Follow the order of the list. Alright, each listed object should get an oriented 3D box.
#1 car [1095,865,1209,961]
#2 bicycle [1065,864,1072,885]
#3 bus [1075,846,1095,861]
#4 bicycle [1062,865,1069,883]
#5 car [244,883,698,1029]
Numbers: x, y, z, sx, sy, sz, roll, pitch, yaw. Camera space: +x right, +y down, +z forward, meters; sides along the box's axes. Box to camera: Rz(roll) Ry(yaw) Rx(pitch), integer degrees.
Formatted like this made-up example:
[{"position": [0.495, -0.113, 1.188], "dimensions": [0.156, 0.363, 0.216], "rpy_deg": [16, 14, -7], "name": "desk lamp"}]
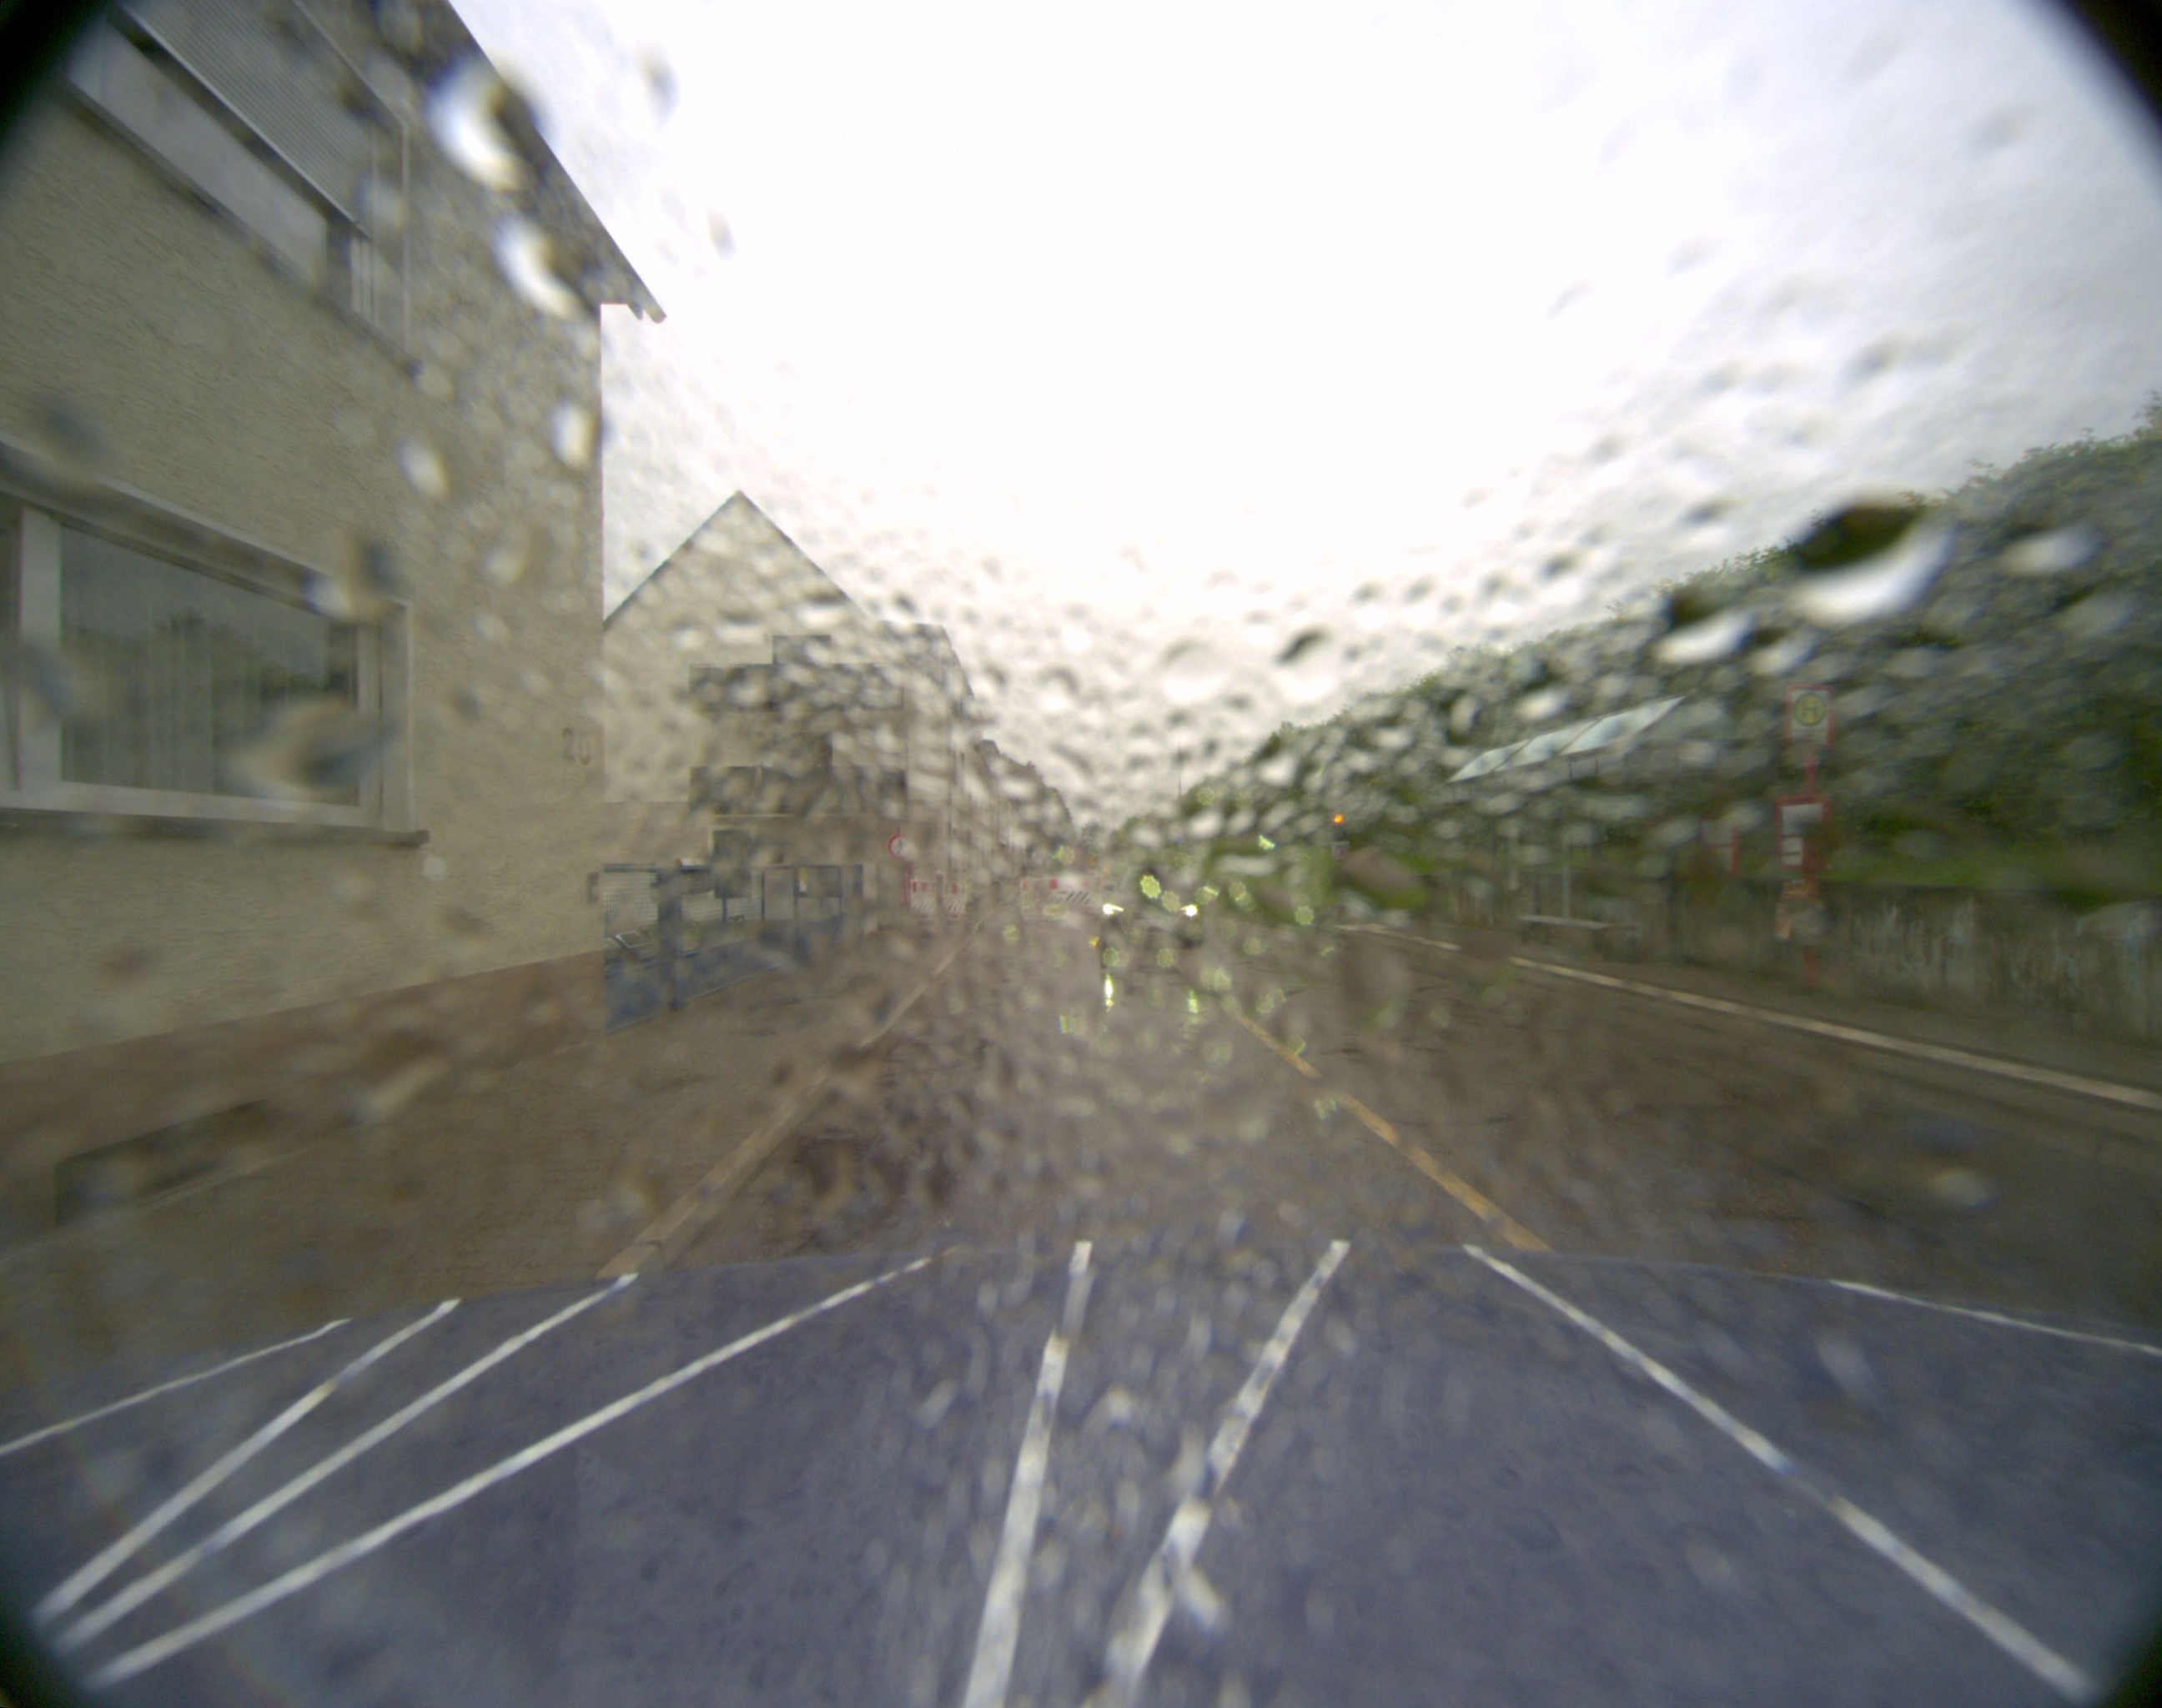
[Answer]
[{"position": [1.486, 0.996, 14.728], "dimensions": [1.850, 1.444, 4.534], "rpy_deg": [1, 1, 8], "name": "car"}, {"position": [-0.695, 1.128, 42.349], "dimensions": [0.407, 1.137, 1.221], "rpy_deg": [0, 1, 0], "name": "bicycle"}, {"position": [0.937, -0.099, 162.598], "dimensions": [2.684, 2.987, 14.551], "rpy_deg": [1, 1, 6], "name": "bus"}, {"position": [-0.916, 1.162, 44.717], "dimensions": [0.407, 1.023, 1.221], "rpy_deg": [0, 1, 0], "name": "bicycle"}, {"position": [-7.534, 1.216, 9.776], "dimensions": [4.155, 1.294, 1.912], "rpy_deg": [-4, 1, -2], "name": "car"}]
